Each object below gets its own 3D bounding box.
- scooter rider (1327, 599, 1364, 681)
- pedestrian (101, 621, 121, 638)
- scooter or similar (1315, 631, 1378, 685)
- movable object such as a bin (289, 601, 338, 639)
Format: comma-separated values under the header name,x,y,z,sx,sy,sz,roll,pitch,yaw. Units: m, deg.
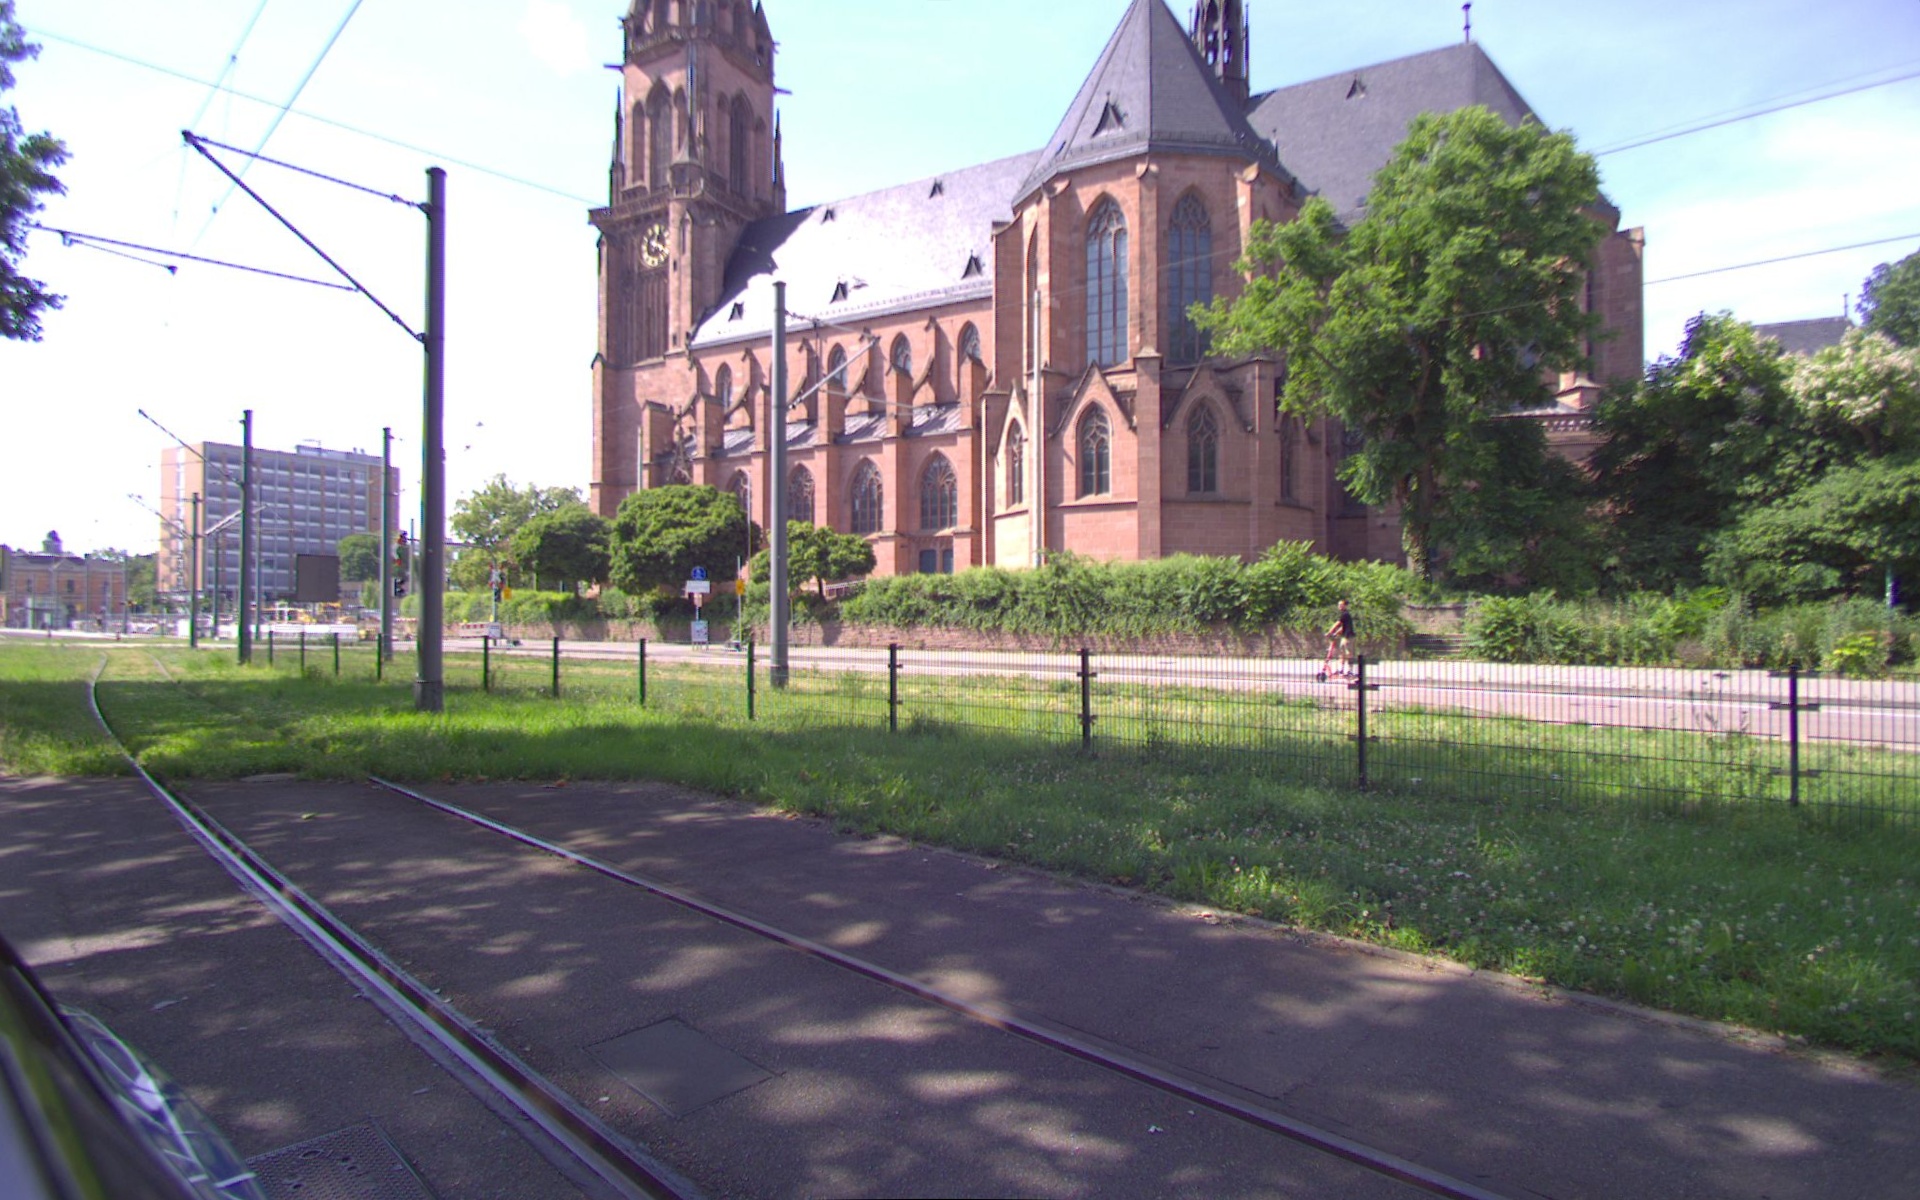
name,x,y,z,sx,sy,sz,roll,pitch,yaw
scooter rider,9.071,0.939,23.809,0.667,1.881,0.656,-1,-2,34
pedestrian,-94.080,3.265,112.178,1.420,1.820,1.409,-1,-2,37
scooter or similar,9.077,1.351,23.798,1.267,1.213,0.650,-1,-2,35
movable object such as a bin,-68.305,2.093,106.931,2.904,3.911,3.327,0,-2,8
